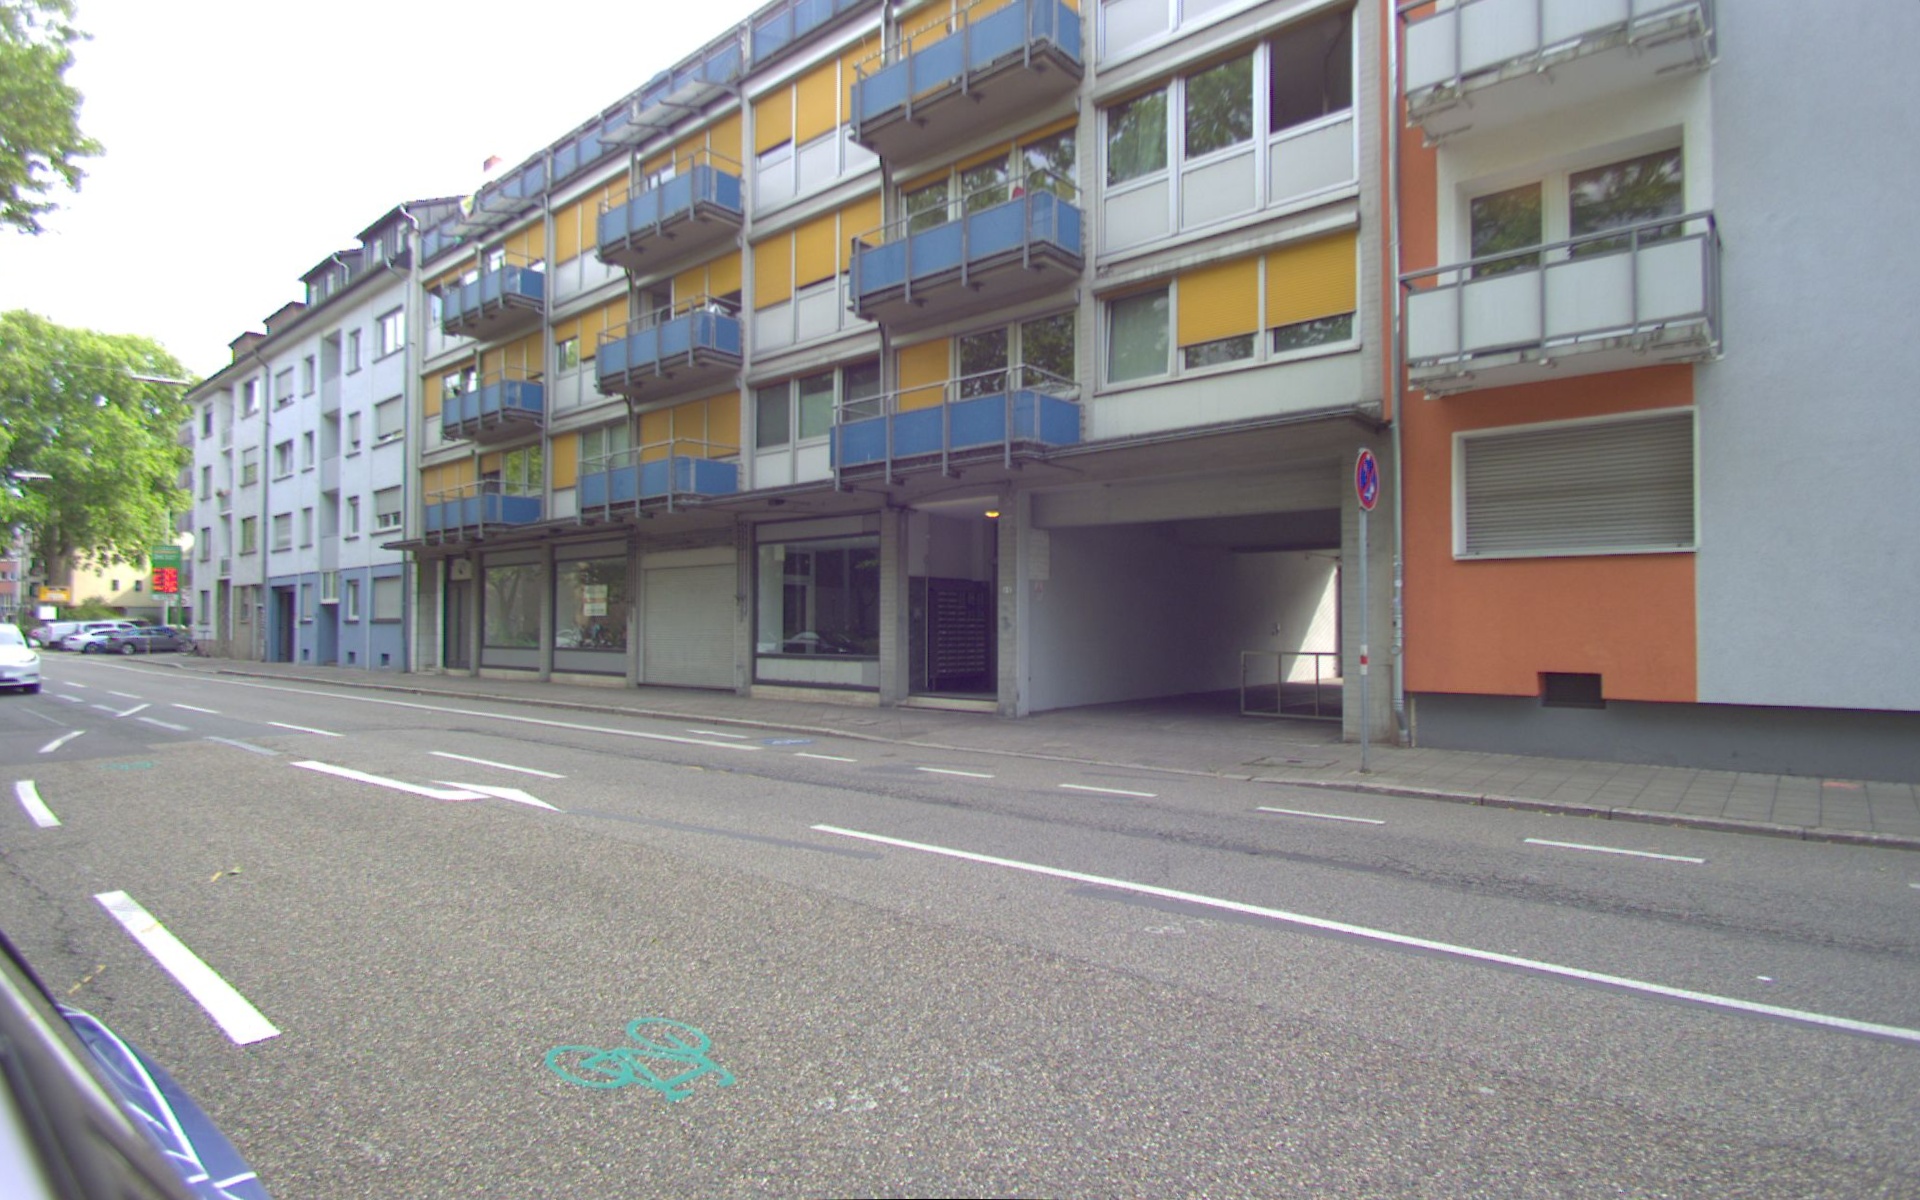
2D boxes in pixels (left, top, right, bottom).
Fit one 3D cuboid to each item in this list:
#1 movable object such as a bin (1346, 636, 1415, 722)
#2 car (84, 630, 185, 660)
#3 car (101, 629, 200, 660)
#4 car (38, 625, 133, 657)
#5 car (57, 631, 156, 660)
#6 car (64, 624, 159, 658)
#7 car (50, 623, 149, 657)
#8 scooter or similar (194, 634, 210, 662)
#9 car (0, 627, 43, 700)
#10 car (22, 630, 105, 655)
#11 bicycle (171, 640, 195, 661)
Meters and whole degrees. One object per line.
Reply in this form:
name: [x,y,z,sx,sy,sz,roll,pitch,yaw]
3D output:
movable object such as a bin: [5.815,1.069,13.998,0.709,1.134,0.635,-2,-2,42]
car: [-47.746,2.570,58.602,1.910,1.462,4.255,-2,0,41]
car: [-45.733,2.482,57.236,1.836,1.525,4.107,-2,0,41]
car: [-58.473,2.719,67.737,1.949,1.873,4.567,-2,0,42]
car: [-50.078,2.636,59.418,1.873,1.462,4.226,-2,0,41]
car: [-51.675,2.484,61.686,1.923,1.862,4.167,-2,0,41]
car: [-56.473,2.615,66.483,1.993,1.949,4.716,-2,0,42]
scooter or similar: [-34.223,2.170,45.713,1.201,1.231,0.346,-2,-2,42]
car: [-22.623,1.414,23.195,4.550,1.578,1.974,-2,-2,43]
car: [-66.903,3.178,75.555,1.753,1.618,4.470,-2,0,42]
bicycle: [-36.363,2.346,47.367,1.662,0.957,0.591,-2,-1,42]
